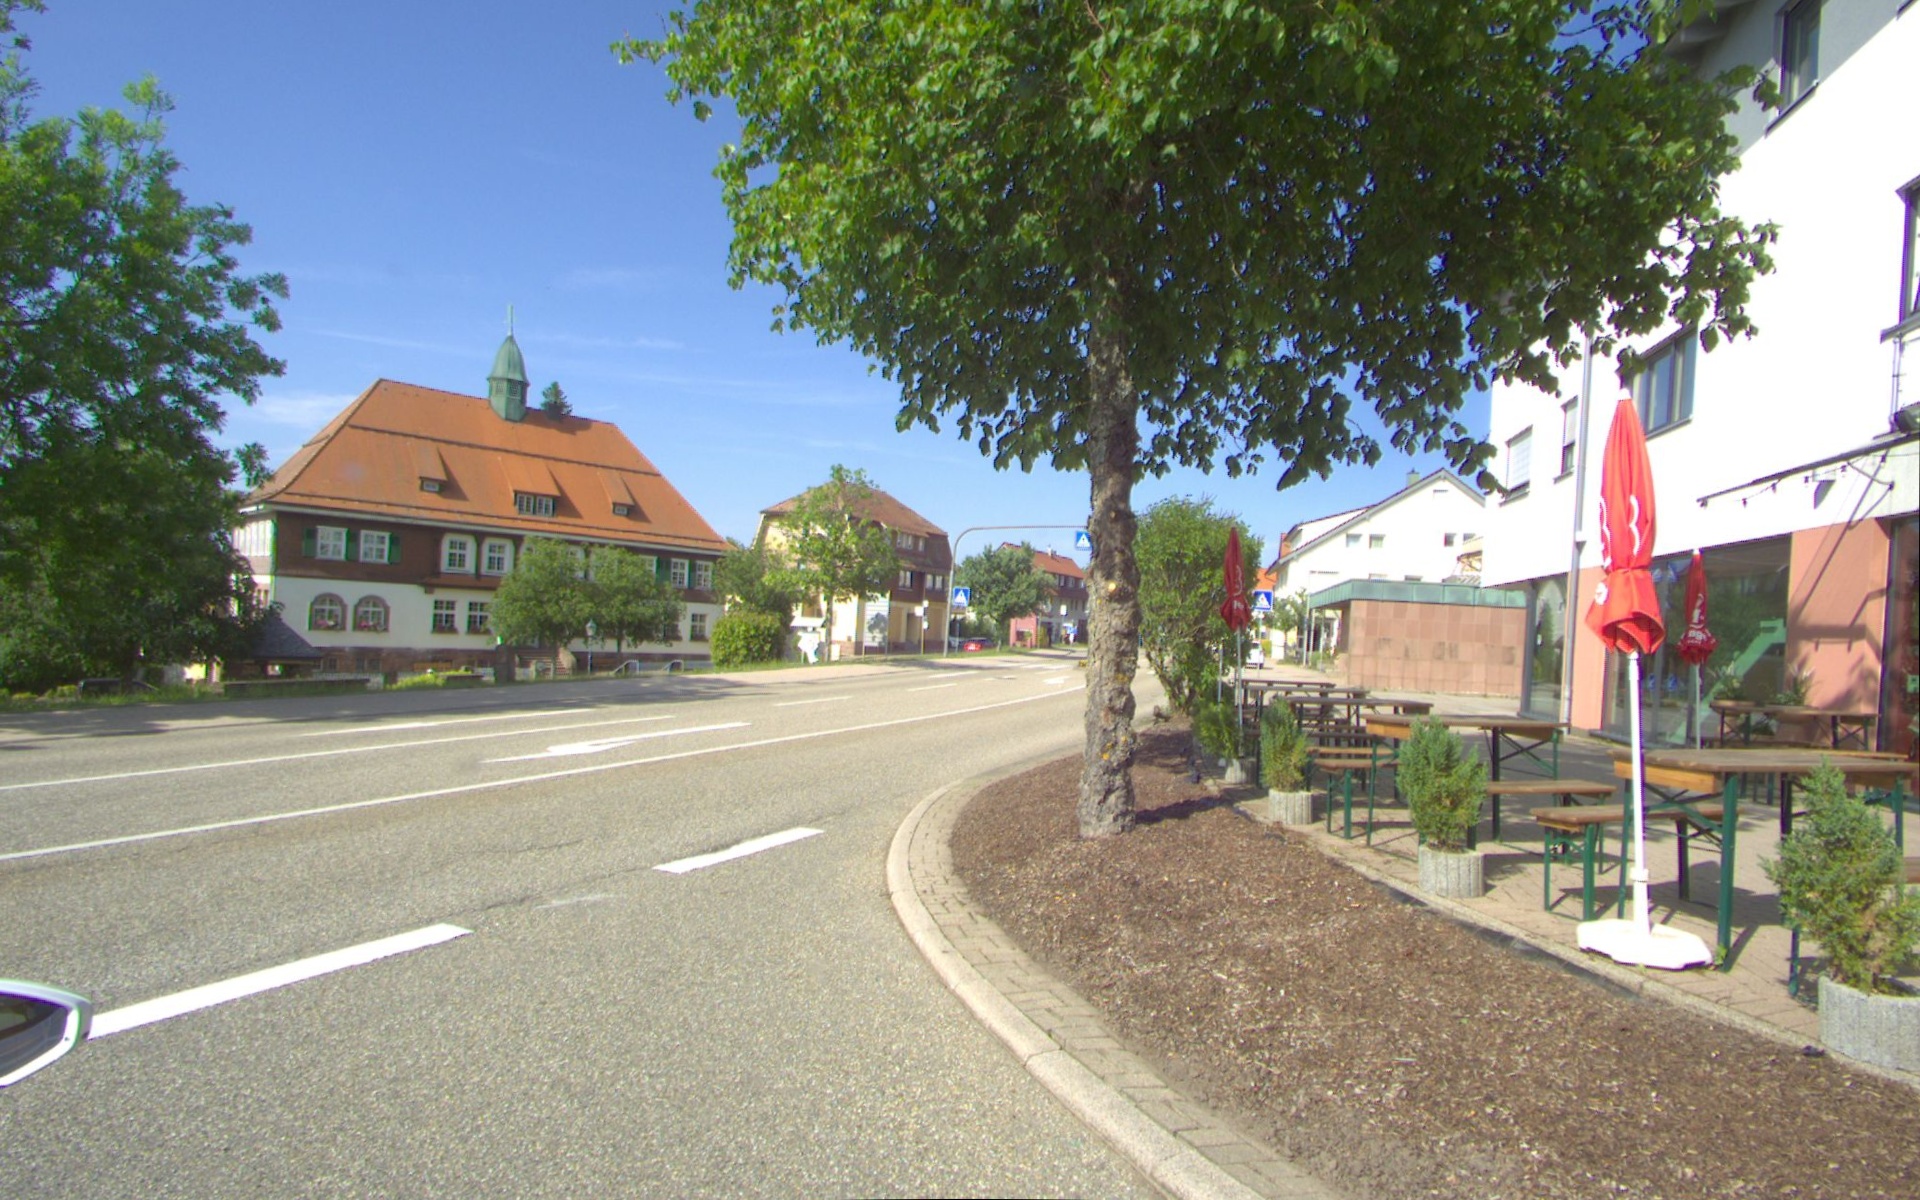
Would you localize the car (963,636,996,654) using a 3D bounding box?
[{"bbox_3d":[1.647,3.687,82.046,1.744,1.451,3.710,-1,-2,17],"label":"car"}]

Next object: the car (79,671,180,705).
[{"bbox_3d":[-41.581,4.365,50.165,1.696,1.463,3.751,-2,-2,44],"label":"car"}]

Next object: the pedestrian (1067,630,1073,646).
[{"bbox_3d":[12.342,4.282,112.376,0.489,1.771,0.581,-1,-1,31],"label":"pedestrian"}]

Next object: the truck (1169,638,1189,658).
[{"bbox_3d":[27.686,6.024,126.455,1.964,2.372,6.487,2,-1,17],"label":"truck"}]

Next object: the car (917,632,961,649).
[{"bbox_3d":[-1.943,3.762,92.855,3.648,1.451,1.774,-2,-2,19],"label":"car"}]

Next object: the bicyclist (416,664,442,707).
[{"bbox_3d":[-24.717,3.961,46.615,0.988,1.949,0.577,1,-2,-43],"label":"bicyclist"}]

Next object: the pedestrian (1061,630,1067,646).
[{"bbox_3d":[11.730,4.299,112.815,0.489,1.771,0.587,-1,-1,31],"label":"pedestrian"}]
